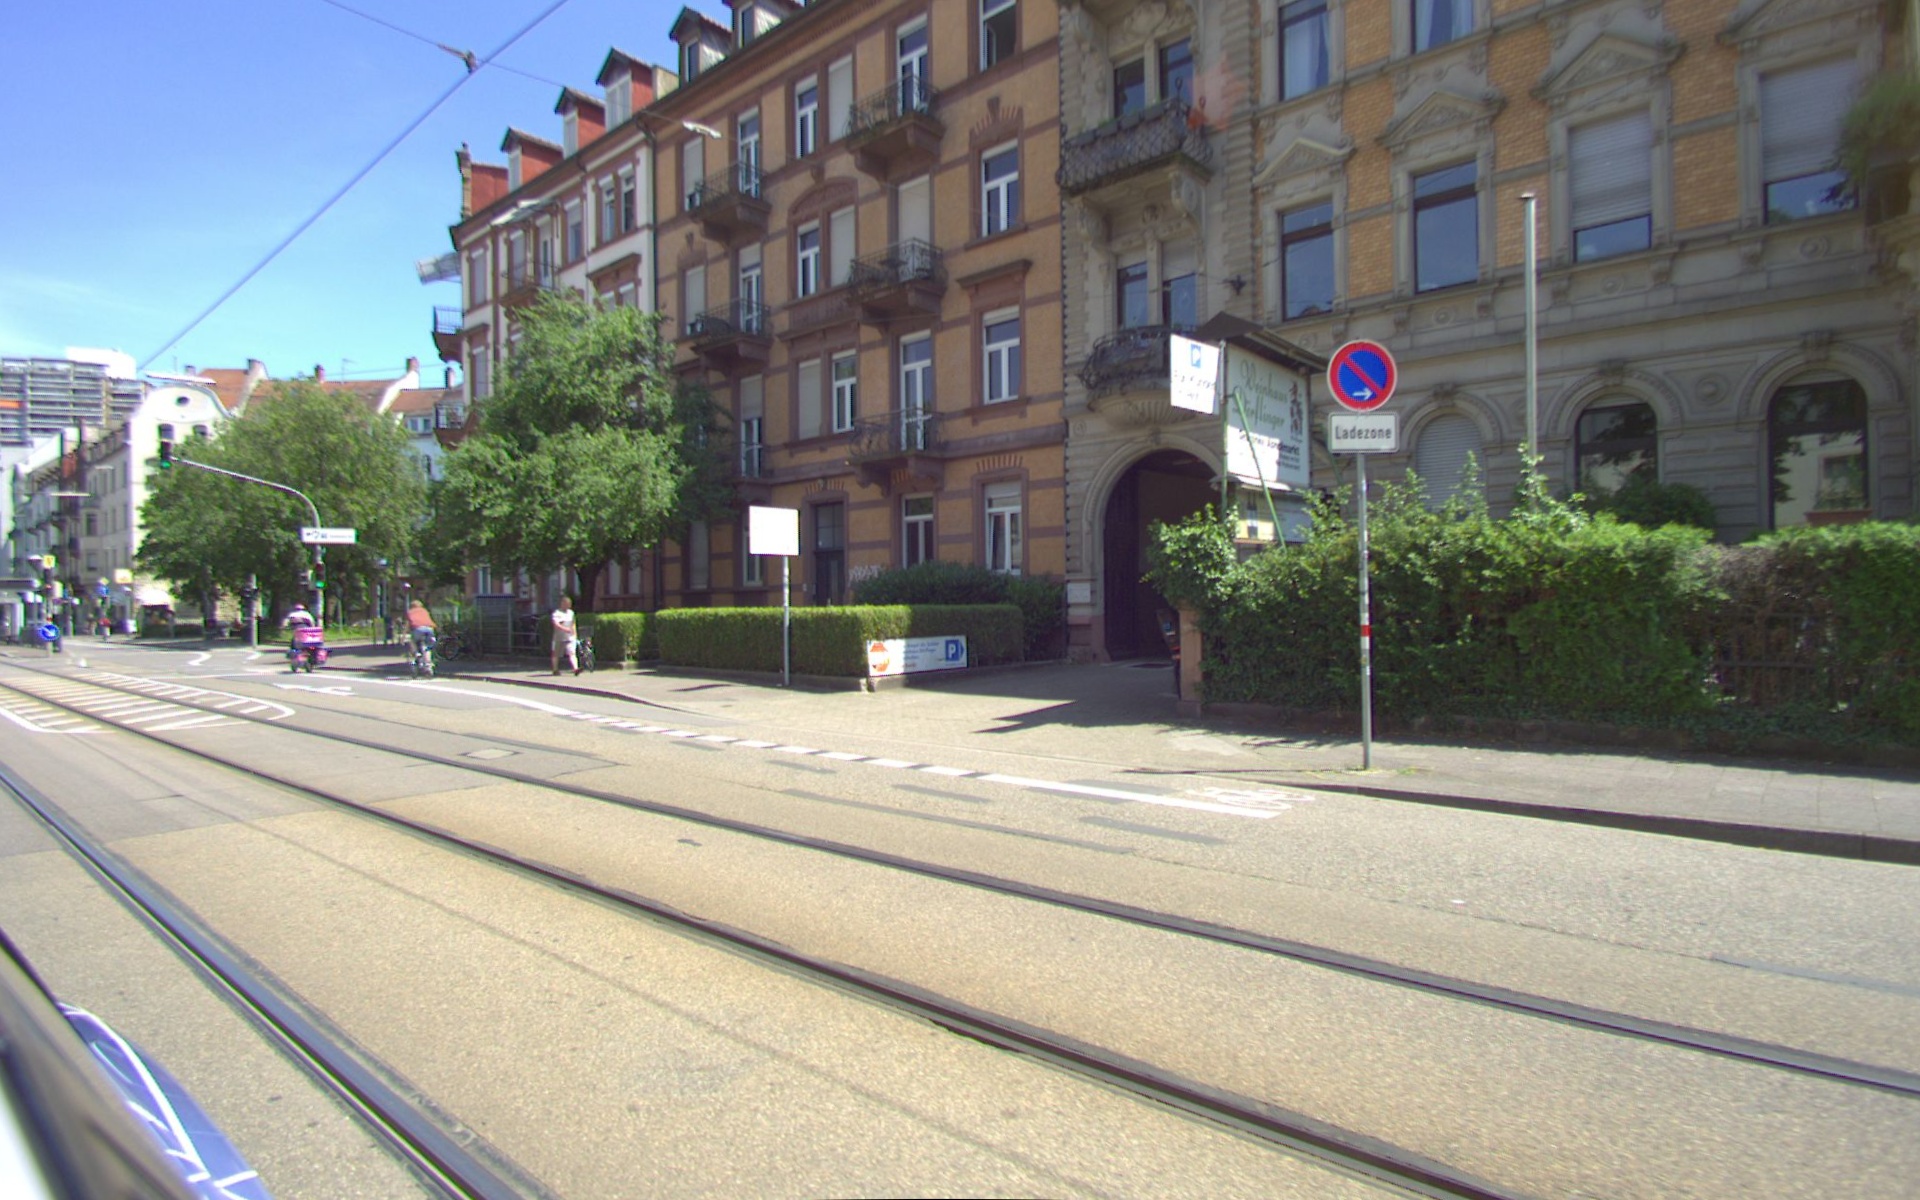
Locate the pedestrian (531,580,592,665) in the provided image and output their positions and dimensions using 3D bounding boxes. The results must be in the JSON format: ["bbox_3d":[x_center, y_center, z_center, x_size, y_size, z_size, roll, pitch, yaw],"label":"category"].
[{"bbox_3d":[-8.309,0.454,21.101,0.861,1.713,1.014,-1,0,-43],"label":"pedestrian"}]

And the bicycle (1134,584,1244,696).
[{"bbox_3d":[2.907,0.459,12.705,0.567,1.237,1.853,-1,2,38],"label":"bicycle"}]

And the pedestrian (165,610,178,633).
[{"bbox_3d":[-50.363,1.394,64.641,0.519,1.452,0.531,-1,-1,31],"label":"pedestrian"}]

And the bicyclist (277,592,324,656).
[{"bbox_3d":[-17.222,0.616,26.431,0.980,1.642,0.799,-1,0,42],"label":"bicyclist"}]

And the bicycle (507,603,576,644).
[{"bbox_3d":[-11.000,0.603,26.634,0.495,1.004,1.628,-1,0,42],"label":"bicycle"}]

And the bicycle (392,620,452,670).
[{"bbox_3d":[-11.816,0.968,22.200,1.828,1.046,0.561,-1,0,42],"label":"bicycle"}]

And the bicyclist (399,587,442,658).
[{"bbox_3d":[-11.843,0.482,22.216,0.891,1.527,0.556,-1,0,42],"label":"bicyclist"}]

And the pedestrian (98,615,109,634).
[{"bbox_3d":[-65.151,1.872,76.983,0.519,1.452,0.531,-1,-1,31],"label":"pedestrian"}]

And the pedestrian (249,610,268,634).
[{"bbox_3d":[-40.196,1.237,57.970,0.811,1.327,0.653,-1,0,-43],"label":"pedestrian"}]

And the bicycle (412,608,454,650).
[{"bbox_3d":[-15.260,0.828,29.309,1.716,1.177,0.566,-1,0,45],"label":"bicycle"}]

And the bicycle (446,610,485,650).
[{"bbox_3d":[-13.635,0.812,27.895,1.565,1.064,0.454,-1,0,45],"label":"bicycle"}]

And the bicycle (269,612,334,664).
[{"bbox_3d":[-17.225,0.972,26.444,2.550,1.281,0.799,-1,0,42],"label":"bicycle"}]

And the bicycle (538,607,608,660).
[{"bbox_3d":[-8.506,0.720,22.213,1.932,1.101,0.631,-1,2,45],"label":"bicycle"}]
